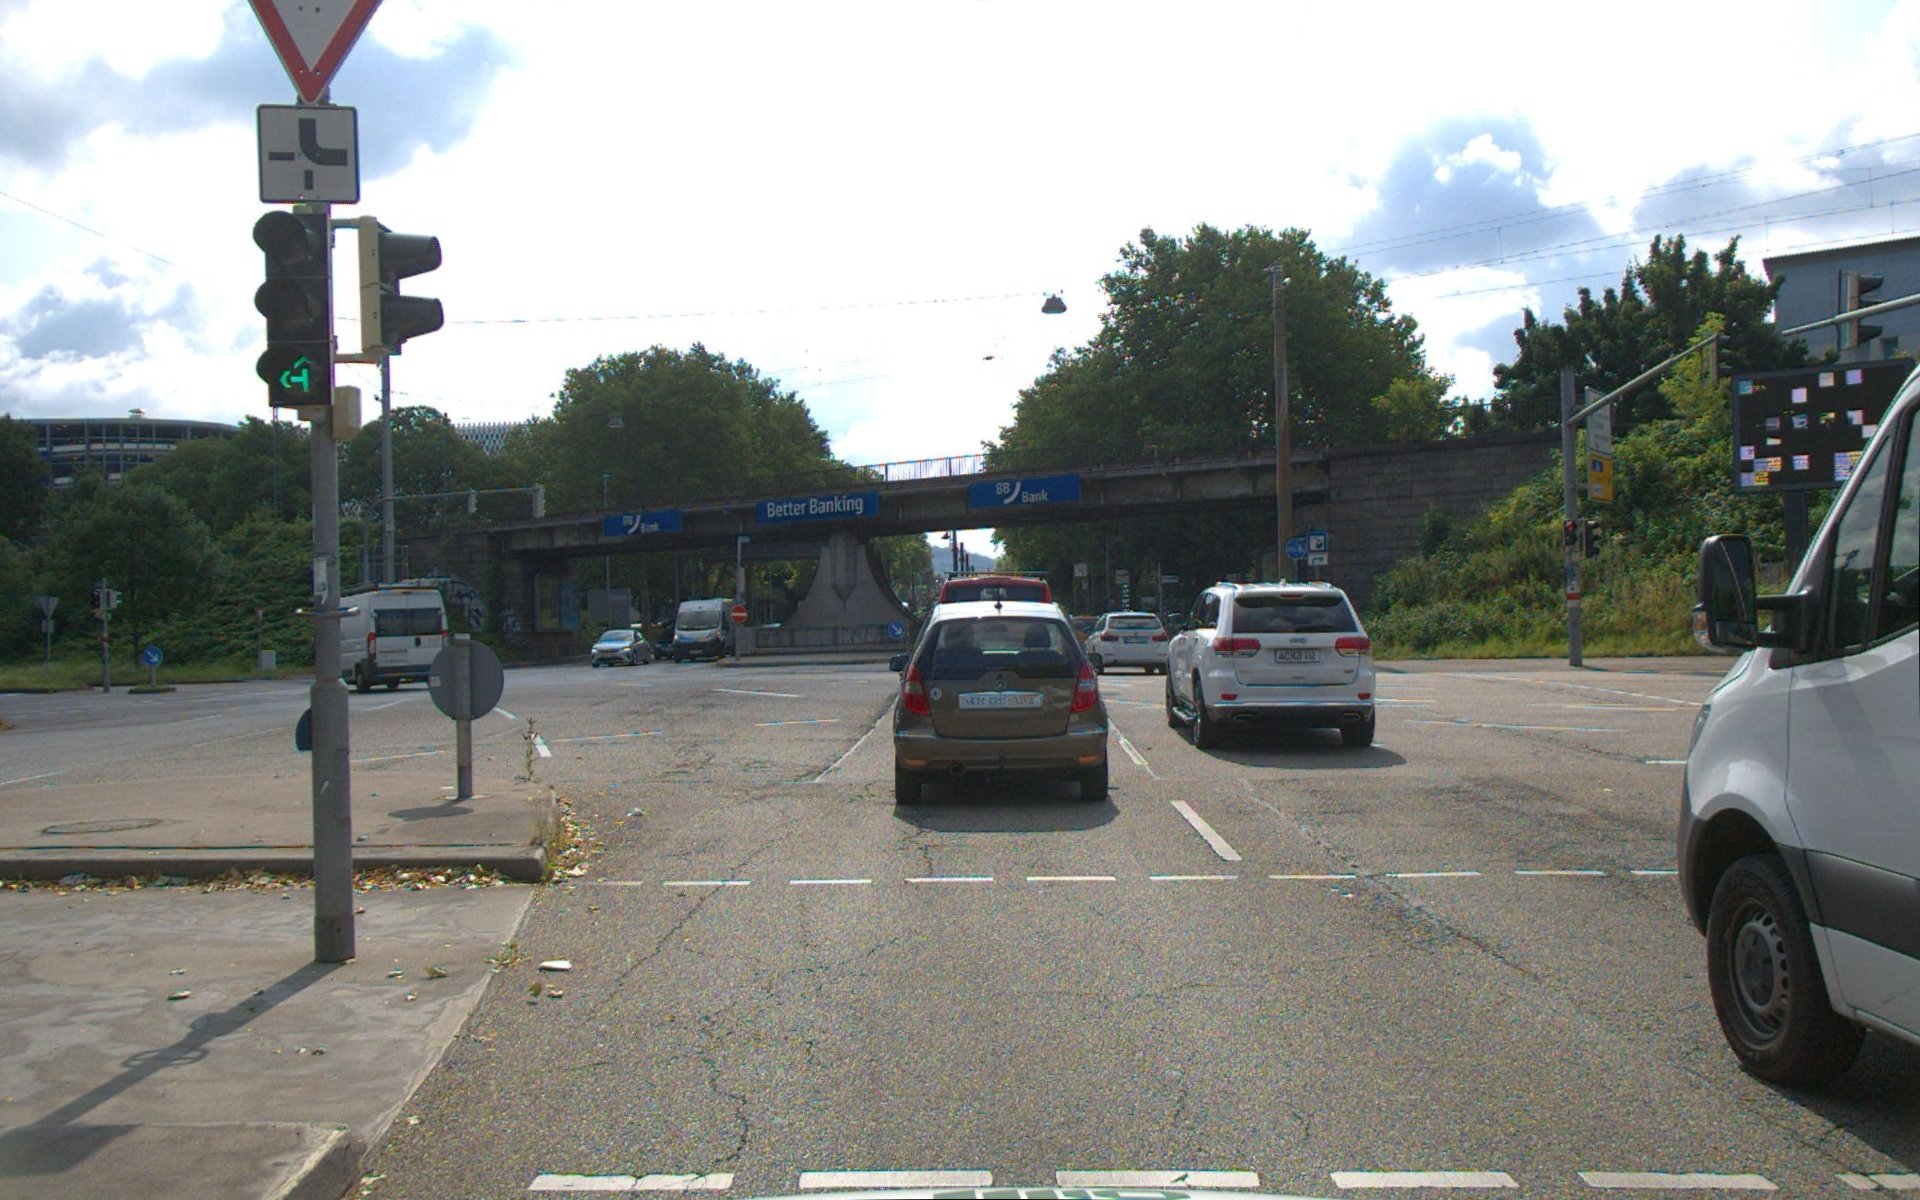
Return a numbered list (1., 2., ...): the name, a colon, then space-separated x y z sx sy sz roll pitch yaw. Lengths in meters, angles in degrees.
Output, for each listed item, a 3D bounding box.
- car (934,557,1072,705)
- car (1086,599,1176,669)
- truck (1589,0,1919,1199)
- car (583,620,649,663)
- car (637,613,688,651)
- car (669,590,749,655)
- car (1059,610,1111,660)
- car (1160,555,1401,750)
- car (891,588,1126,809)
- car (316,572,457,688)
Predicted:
1. car: 0.651 0.396 25.454 1.915 2.052 4.677 0 1 1
2. car: 3.983 0.797 39.023 1.813 1.548 3.617 1 -1 1
3. truck: 3.463 -0.121 2.914 2.397 3.176 6.027 1 0 0
4. car: -13.638 1.633 65.767 1.668 1.502 4.000 -3 0 0
5. car: -13.903 1.478 77.469 1.730 1.611 4.661 -2 0 -3
6. car: -10.316 0.907 68.393 2.211 2.570 5.628 0 0 2
7. car: 4.085 1.136 54.412 1.512 1.548 3.617 1 -1 1
8. car: 3.511 0.511 18.974 1.954 1.934 4.510 -1 0 1
9. car: 0.409 0.749 14.422 1.755 1.637 3.799 -1 0 1
10. car: -14.857 0.788 42.700 2.179 2.774 4.871 -1 -1 -35
